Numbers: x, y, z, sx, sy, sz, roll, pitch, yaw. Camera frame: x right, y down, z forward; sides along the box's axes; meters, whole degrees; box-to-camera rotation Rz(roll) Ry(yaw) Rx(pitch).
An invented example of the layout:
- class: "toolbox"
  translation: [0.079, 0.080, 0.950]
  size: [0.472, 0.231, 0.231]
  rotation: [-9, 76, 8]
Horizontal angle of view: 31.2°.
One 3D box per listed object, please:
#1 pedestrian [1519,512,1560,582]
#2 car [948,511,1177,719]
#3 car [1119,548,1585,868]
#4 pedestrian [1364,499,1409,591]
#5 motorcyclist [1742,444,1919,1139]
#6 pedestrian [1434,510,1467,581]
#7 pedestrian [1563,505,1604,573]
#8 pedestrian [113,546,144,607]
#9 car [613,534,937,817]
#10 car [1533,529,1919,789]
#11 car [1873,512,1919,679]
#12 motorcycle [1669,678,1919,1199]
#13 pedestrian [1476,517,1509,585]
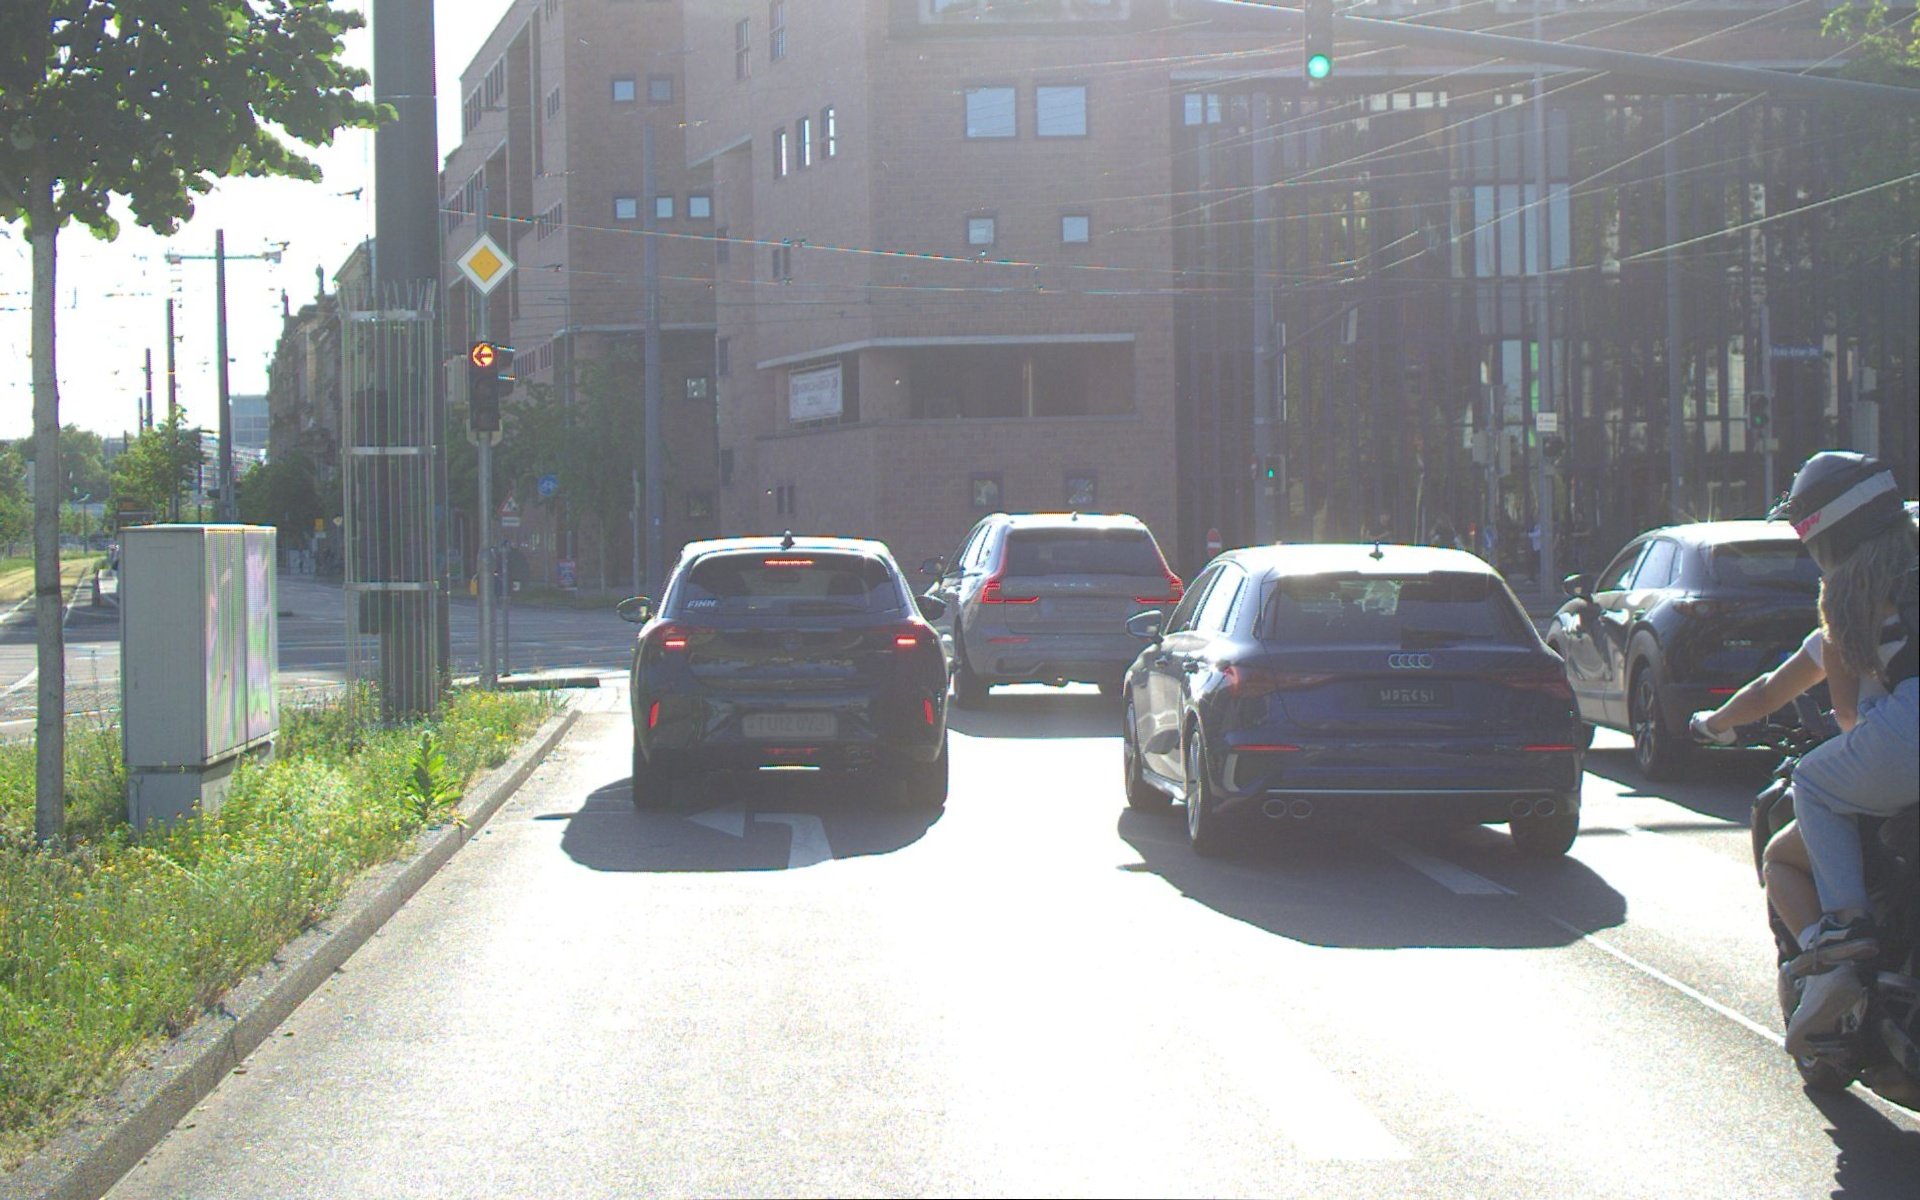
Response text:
- class: "pedestrian"
  translation: [13.599, -1.252, 80.681]
  size: [0.900, 1.611, 0.560]
  rotation: [-1, 1, 6]
- class: "car"
  translation: [0.816, 0.081, 29.593]
  size: [1.737, 1.645, 4.000]
  rotation: [-1, 1, -1]
- class: "car"
  translation: [1.796, 0.437, 16.920]
  size: [1.737, 1.345, 4.000]
  rotation: [-1, 1, -1]
- class: "pedestrian"
  translation: [8.220, -1.066, 66.231]
  size: [0.707, 1.753, 0.560]
  rotation: [-1, 1, 23]
- class: "motorcyclist"
  translation: [2.317, 0.405, 8.054]
  size: [0.745, 1.525, 1.021]
  rotation: [-1, 1, 2]
- class: "pedestrian"
  translation: [9.886, -1.100, 69.277]
  size: [0.529, 1.425, 0.598]
  rotation: [-1, 1, -3]
- class: "pedestrian"
  translation: [14.830, -1.455, 81.810]
  size: [0.900, 1.611, 0.560]
  rotation: [-1, 1, 6]
- class: "pedestrian"
  translation: [-22.536, -0.636, 93.167]
  size: [0.742, 1.634, 0.768]
  rotation: [-1, 1, -15]
- class: "car"
  translation: [-0.997, 0.353, 19.717]
  size: [1.649, 1.428, 4.000]
  rotation: [-1, 1, -1]
- class: "car"
  translation: [4.860, 0.292, 21.403]
  size: [1.807, 1.452, 4.001]
  rotation: [0, 1, -1]
- class: "car"
  translation: [9.208, -0.005, 29.212]
  size: [1.994, 1.415, 4.000]
  rotation: [1, 2, 3]
- class: "motorcycle"
  translation: [2.330, 0.798, 8.436]
  size: [0.775, 1.111, 1.969]
  rotation: [-1, 1, 1]
- class: "pedestrian"
  translation: [12.785, -1.182, 82.603]
  size: [0.738, 1.611, 0.560]
  rotation: [-1, 1, 6]
